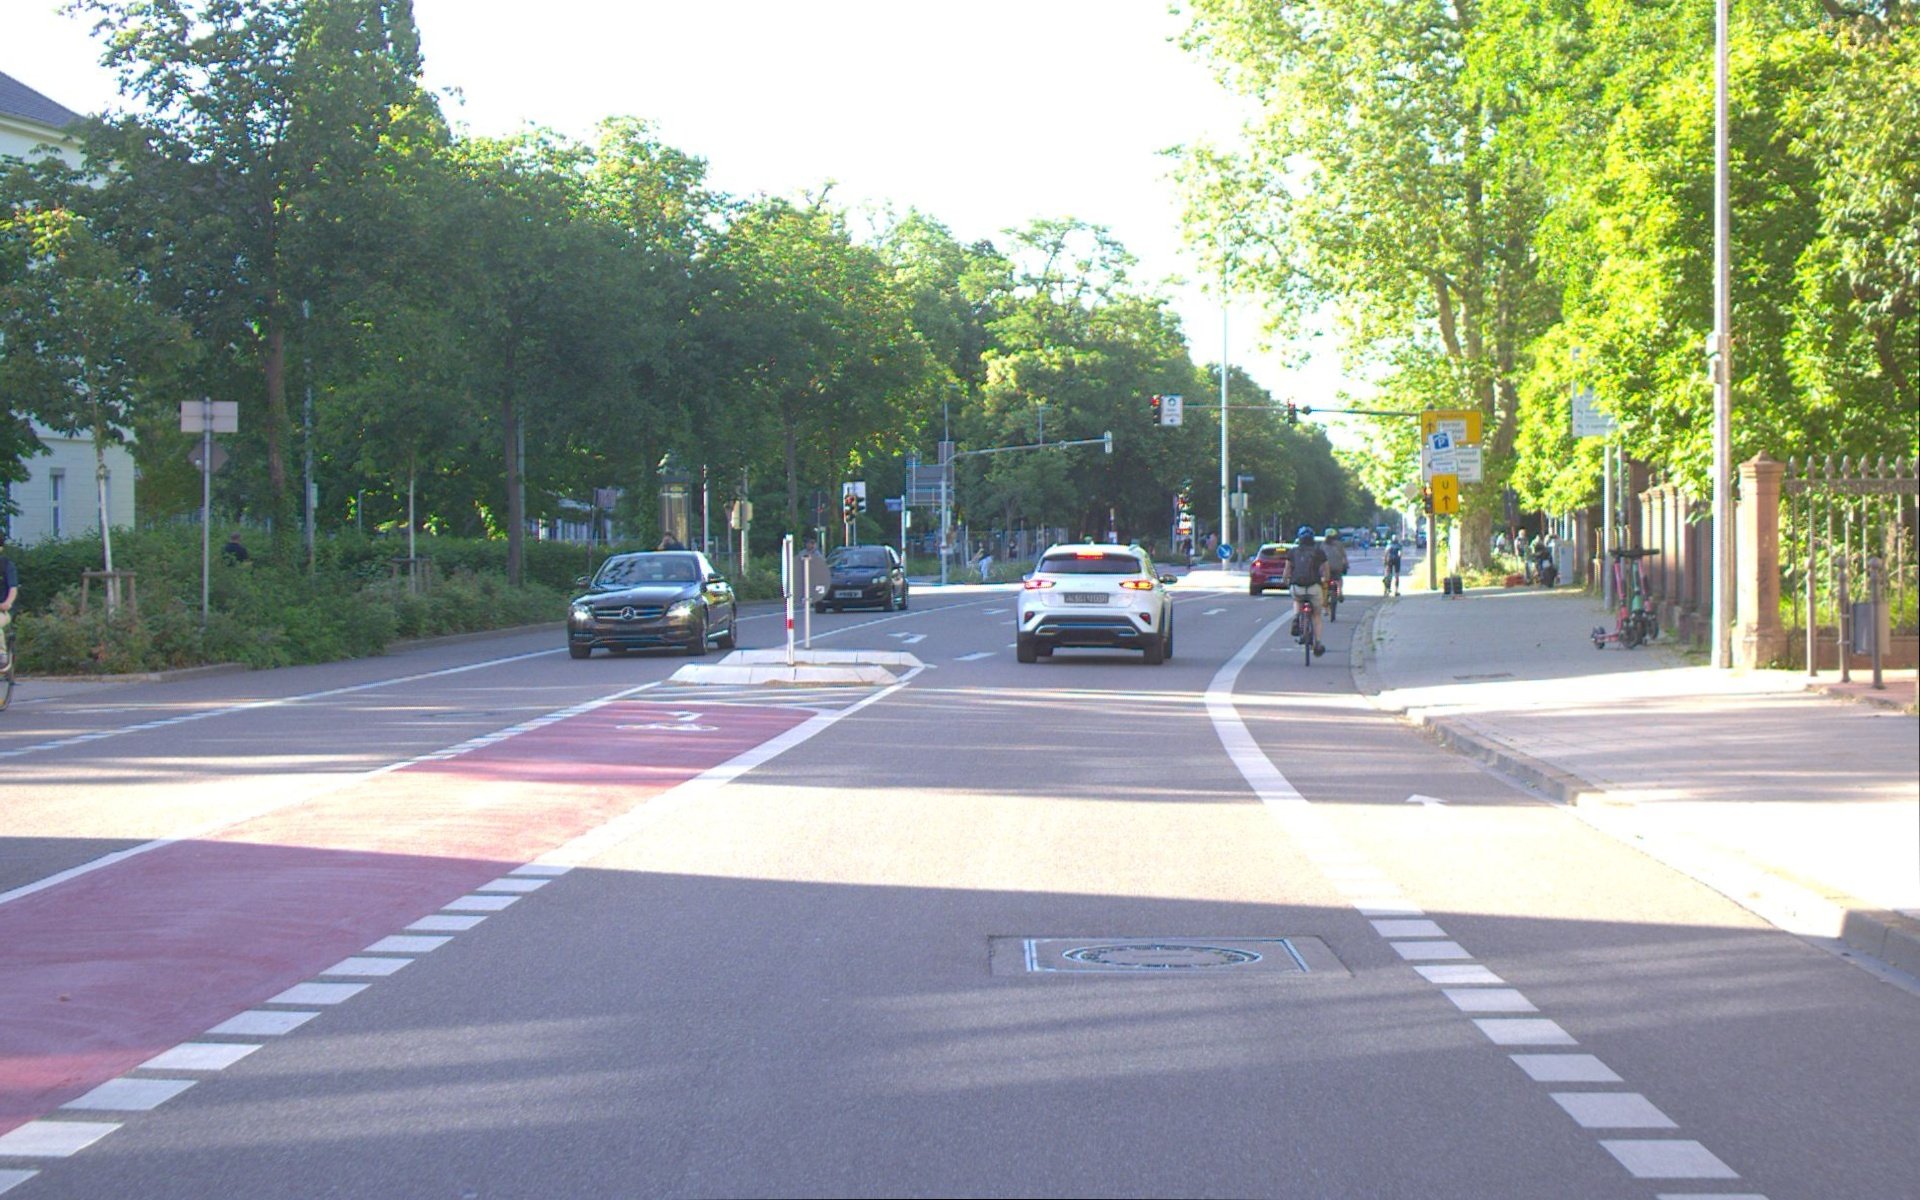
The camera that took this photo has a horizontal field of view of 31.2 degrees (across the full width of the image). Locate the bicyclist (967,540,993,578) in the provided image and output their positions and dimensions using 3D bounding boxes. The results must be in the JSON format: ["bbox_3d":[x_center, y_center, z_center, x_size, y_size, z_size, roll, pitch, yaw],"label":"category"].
[{"bbox_3d":[0.786,-1.617,135.271,0.923,1.503,0.506,0,1,15],"label":"bicyclist"}]

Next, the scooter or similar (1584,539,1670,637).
[{"bbox_3d":[8.657,-0.170,44.651,0.547,1.238,1.558,-1,1,-10],"label":"scooter or similar"}]

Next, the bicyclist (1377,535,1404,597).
[{"bbox_3d":[12.313,-0.976,98.304,0.750,1.744,0.843,1,1,7],"label":"bicyclist"}]

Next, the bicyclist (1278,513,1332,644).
[{"bbox_3d":[4.327,-0.275,43.070,0.636,1.609,1.283,1,1,7],"label":"bicyclist"}]

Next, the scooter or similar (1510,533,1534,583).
[{"bbox_3d":[15.845,-1.184,96.957,0.566,1.378,1.856,-1,1,6],"label":"scooter or similar"}]

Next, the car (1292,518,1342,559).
[{"bbox_3d":[13.757,-2.378,132.365,1.737,1.541,3.999,-1,1,8],"label":"car"}]

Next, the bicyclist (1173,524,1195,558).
[{"bbox_3d":[11.309,-2.983,173.736,0.956,1.699,1.232,-1,1,9],"label":"bicyclist"}]

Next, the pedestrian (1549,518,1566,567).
[{"bbox_3d":[22.438,-2.156,129.119,0.482,1.786,0.431,-3,4,14],"label":"pedestrian"}]

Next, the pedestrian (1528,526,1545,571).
[{"bbox_3d":[21.472,-1.919,128.123,0.482,1.634,0.431,-4,4,14],"label":"pedestrian"}]

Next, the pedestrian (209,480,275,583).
[{"bbox_3d":[-13.018,-1.239,62.345,0.856,1.845,1.001,-1,1,6],"label":"pedestrian"}]

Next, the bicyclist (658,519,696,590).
[{"bbox_3d":[-6.255,-1.009,75.930,0.629,1.517,0.724,-3,1,5],"label":"bicyclist"}]

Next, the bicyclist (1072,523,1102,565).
[{"bbox_3d":[5.331,-2.358,144.434,1.093,1.748,1.097,-1,1,10],"label":"bicyclist"}]

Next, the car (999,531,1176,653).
[{"bbox_3d":[1.668,-0.138,43.783,1.994,1.448,3.999,-1,1,6],"label":"car"}]

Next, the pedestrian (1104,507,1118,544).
[{"bbox_3d":[8.297,-4.097,188.835,0.656,2.007,0.832,-1,1,6],"label":"pedestrian"}]

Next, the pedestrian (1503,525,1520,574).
[{"bbox_3d":[20.542,-1.874,128.024,0.482,1.786,0.431,-3,4,14],"label":"pedestrian"}]

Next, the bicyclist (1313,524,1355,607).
[{"bbox_3d":[6.990,-0.653,64.219,0.747,1.532,0.969,0,1,7],"label":"bicyclist"}]

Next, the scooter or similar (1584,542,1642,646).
[{"bbox_3d":[7.923,-0.078,41.753,0.296,1.235,1.161,-1,1,-9],"label":"scooter or similar"}]

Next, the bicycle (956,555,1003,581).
[{"bbox_3d":[0.763,-1.256,135.283,1.767,0.986,0.512,0,1,15],"label":"bicycle"}]

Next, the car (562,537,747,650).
[{"bbox_3d":[-4.084,-0.122,46.671,1.812,1.415,4.554,-1,1,4],"label":"car"}]

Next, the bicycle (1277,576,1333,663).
[{"bbox_3d":[4.336,0.226,43.152,0.643,1.021,2.212,1,1,7],"label":"bicycle"}]

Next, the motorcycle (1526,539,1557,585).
[{"bbox_3d":[15.244,-1.012,90.202,0.662,1.163,2.327,-3,1,7],"label":"motorcycle"}]

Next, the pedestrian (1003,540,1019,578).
[{"bbox_3d":[2.520,-2.022,169.487,0.651,1.881,0.662,-1,1,10],"label":"pedestrian"}]

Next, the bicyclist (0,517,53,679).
[{"bbox_3d":[-8.907,-0.014,31.965,0.656,1.480,0.665,-3,1,2],"label":"bicyclist"}]

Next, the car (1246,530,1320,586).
[{"bbox_3d":[9.138,-1.196,97.055,1.929,1.528,3.999,-1,1,7],"label":"car"}]

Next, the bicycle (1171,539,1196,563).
[{"bbox_3d":[11.306,-2.498,173.752,0.964,1.177,2.950,-1,1,10],"label":"bicycle"}]

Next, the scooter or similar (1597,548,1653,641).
[{"bbox_3d":[8.268,-0.078,42.779,0.480,1.118,1.336,-1,1,3],"label":"scooter or similar"}]

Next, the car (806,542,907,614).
[{"bbox_3d":[-2.197,-0.491,74.047,1.758,1.454,4.000,-1,1,4],"label":"car"}]

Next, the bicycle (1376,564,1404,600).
[{"bbox_3d":[12.291,-0.520,98.239,0.753,1.022,1.869,1,0,7],"label":"bicycle"}]

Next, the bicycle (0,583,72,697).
[{"bbox_3d":[-8.888,0.365,31.922,0.651,0.992,2.109,-2,1,2],"label":"bicycle"}]

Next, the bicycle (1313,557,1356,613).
[{"bbox_3d":[7.008,-0.287,64.263,0.753,1.022,1.869,1,0,7],"label":"bicycle"}]
